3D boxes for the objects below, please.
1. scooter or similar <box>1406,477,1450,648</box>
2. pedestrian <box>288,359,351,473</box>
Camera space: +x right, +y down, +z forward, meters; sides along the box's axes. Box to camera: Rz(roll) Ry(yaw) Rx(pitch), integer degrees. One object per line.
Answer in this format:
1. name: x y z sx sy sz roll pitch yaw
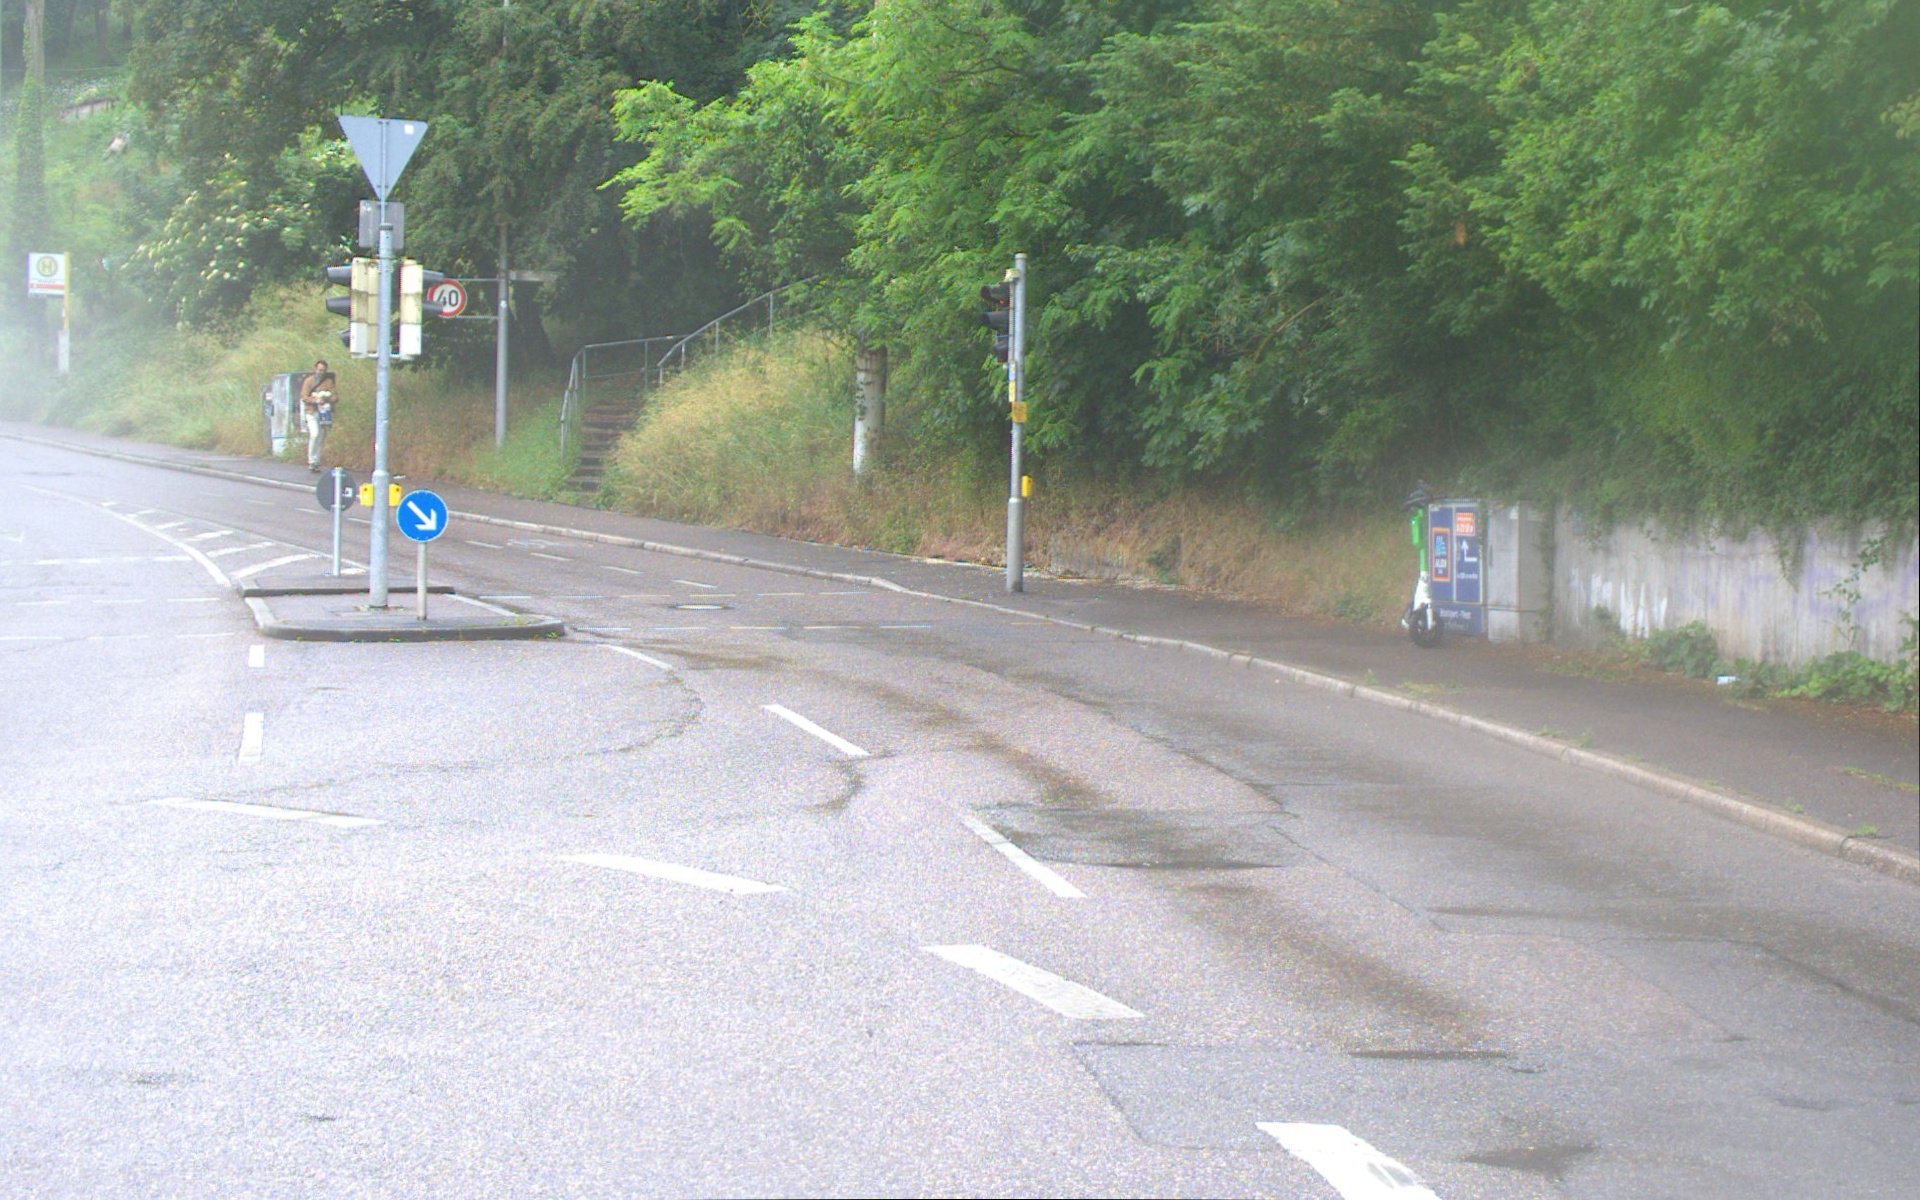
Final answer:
1. scooter or similar: 3.599 -0.294 26.462 0.322 1.275 0.751 0 4 7
2. pedestrian: -10.131 -2.901 54.339 0.880 1.730 0.866 0 0 -17
